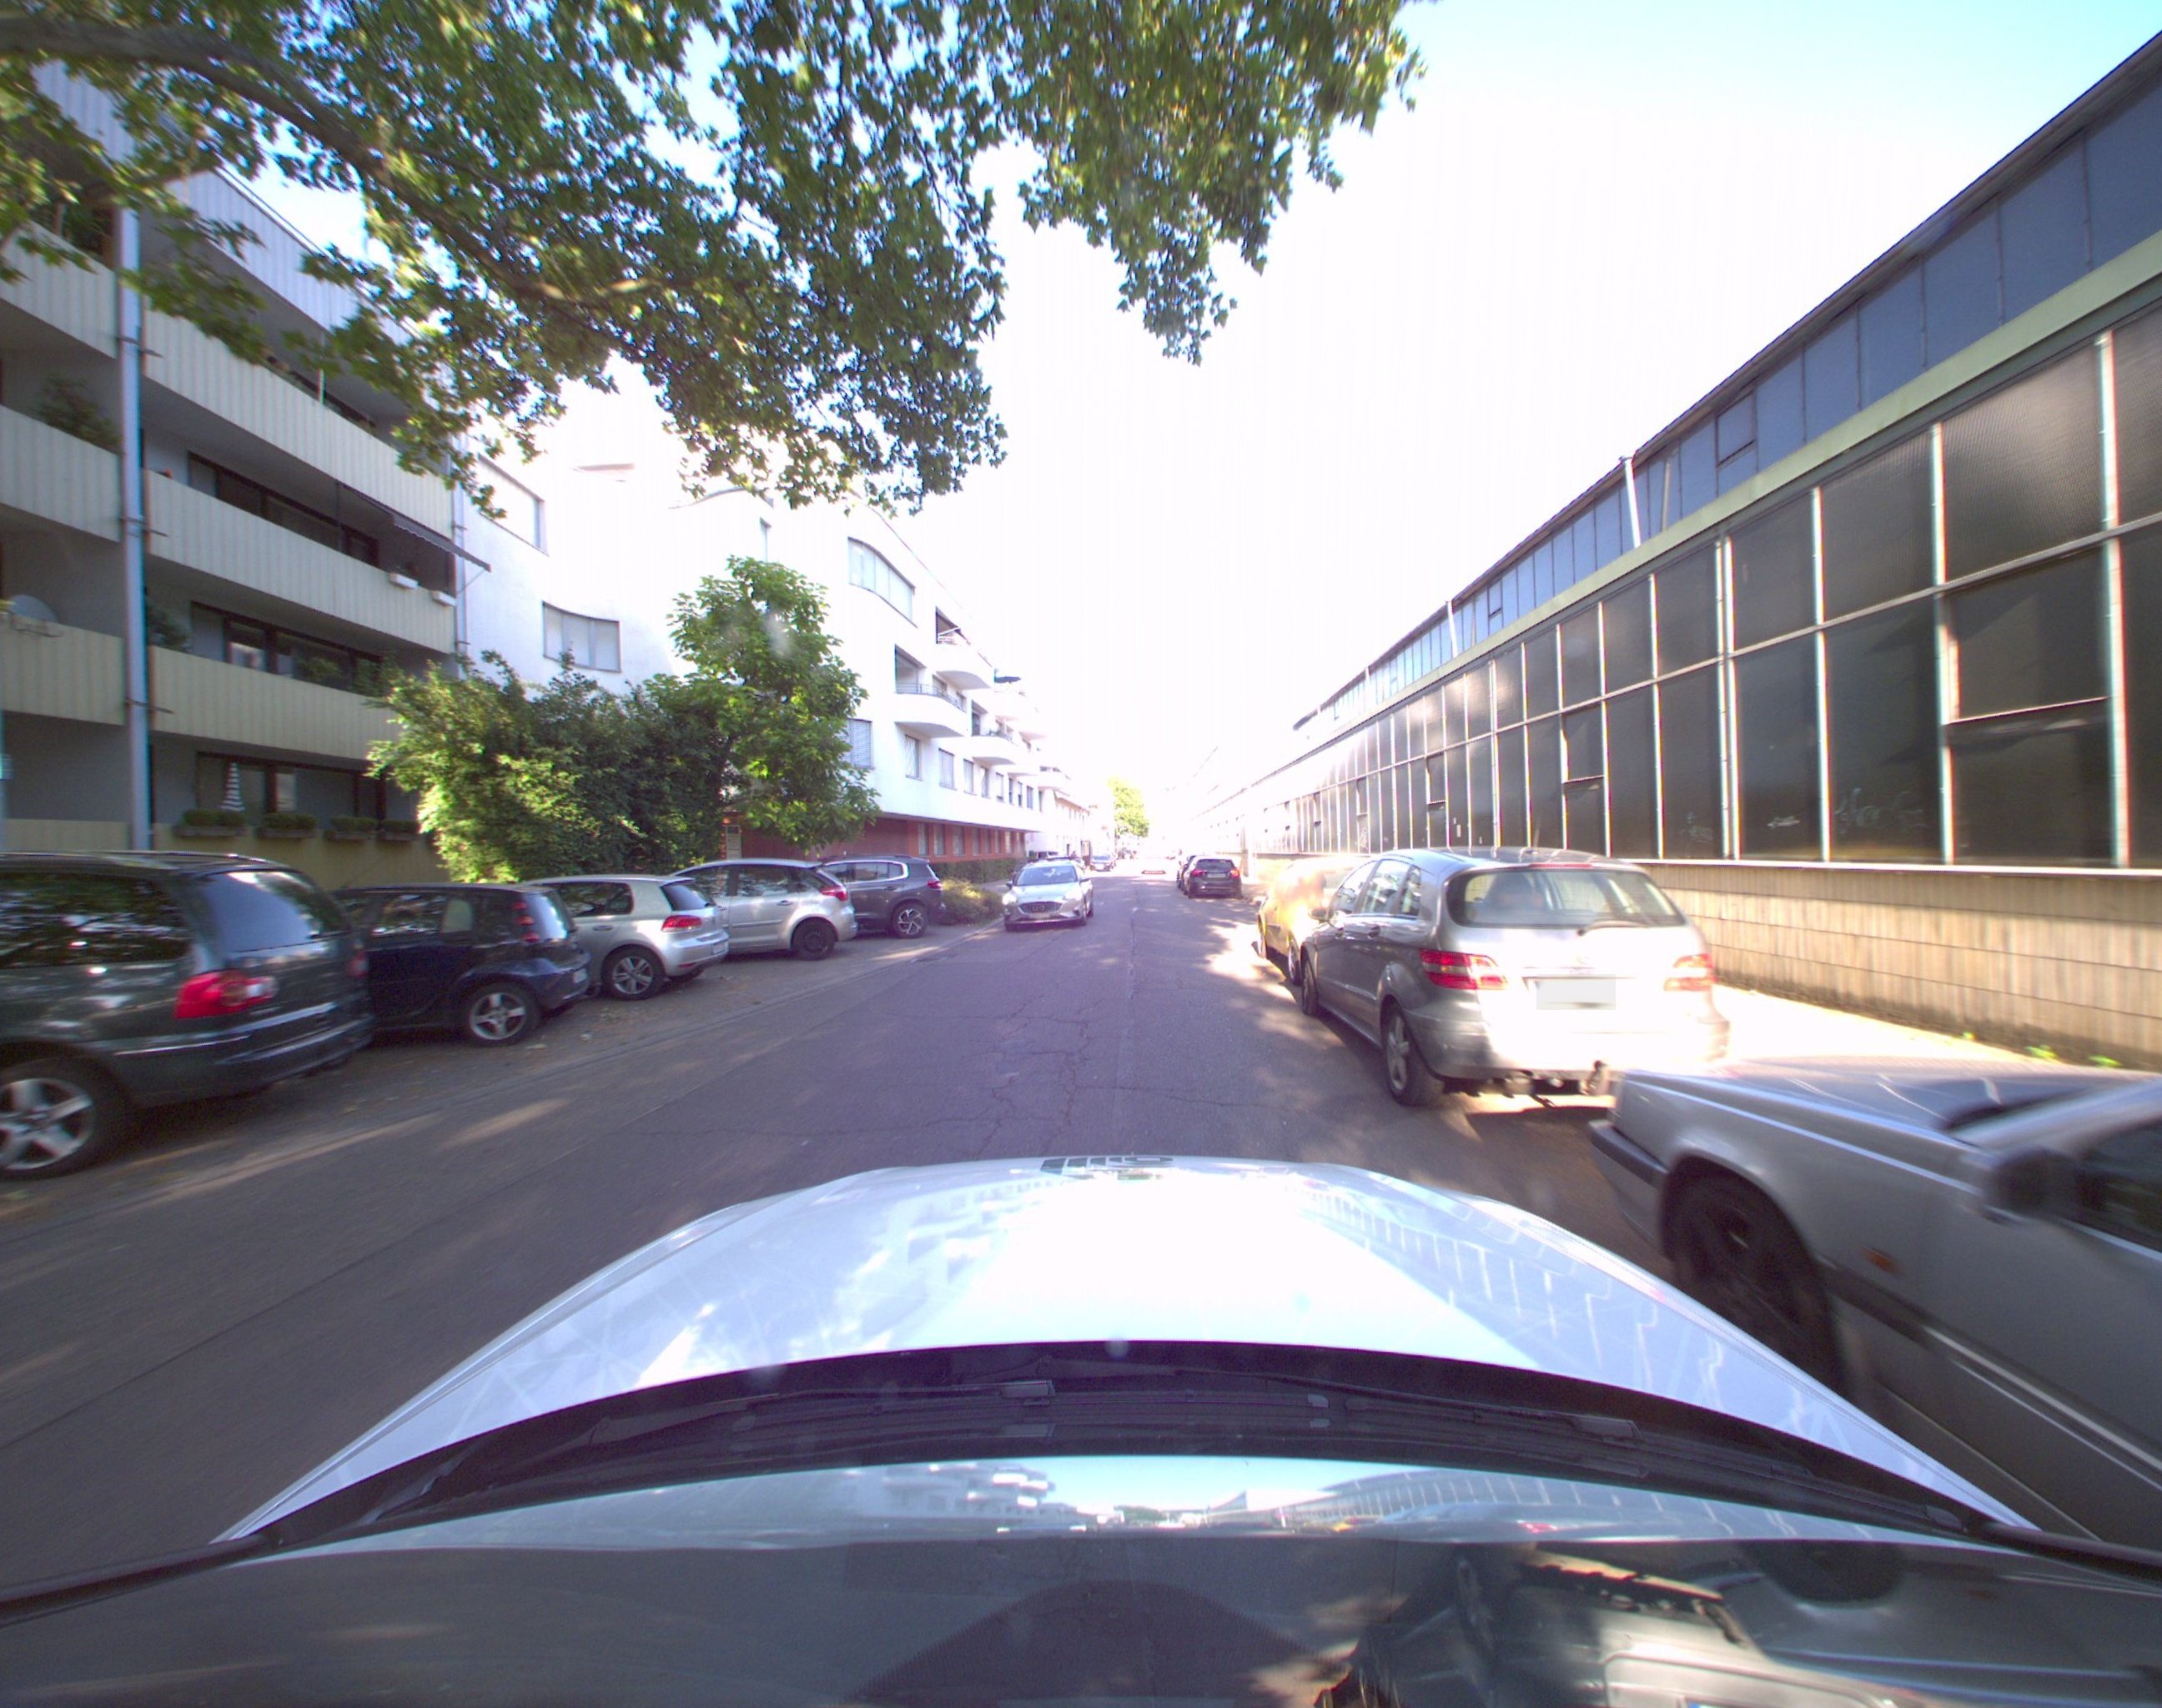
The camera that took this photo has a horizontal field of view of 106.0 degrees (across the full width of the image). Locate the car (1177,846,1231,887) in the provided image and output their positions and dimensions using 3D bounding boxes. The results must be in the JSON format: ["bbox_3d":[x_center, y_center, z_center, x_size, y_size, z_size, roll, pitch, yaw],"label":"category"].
[{"bbox_3d":[5.067,0.499,34.173,1.799,1.587,4.408,0,0,3],"label":"car"}]

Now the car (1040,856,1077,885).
[{"bbox_3d":[-1.236,0.895,47.318,1.850,1.587,4.623,0,0,2],"label":"car"}]

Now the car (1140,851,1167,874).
[{"bbox_3d":[5.119,0.575,57.725,1.834,1.491,4.149,-2,0,4],"label":"car"}]

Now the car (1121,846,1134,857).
[{"bbox_3d":[8.200,-0.428,143.180,1.843,1.791,4.616,-2,1,7],"label":"car"}]

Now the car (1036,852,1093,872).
[{"bbox_3d":[-1.261,0.600,63.671,4.303,1.535,1.691,0,0,2],"label":"car"}]

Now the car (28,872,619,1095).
[{"bbox_3d":[-6.584,1.012,7.647,3.652,1.560,1.688,-1,0,-21],"label":"car"}]

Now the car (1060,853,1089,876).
[{"bbox_3d":[-0.426,0.723,56.655,1.660,1.536,3.861,0,0,4],"label":"car"}]

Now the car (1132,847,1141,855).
[{"bbox_3d":[10.961,-0.617,161.728,1.696,1.575,3.919,-2,1,5],"label":"car"}]

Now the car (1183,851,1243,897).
[{"bbox_3d":[4.608,0.659,28.961,1.742,1.491,4.627,0,0,5],"label":"car"}]

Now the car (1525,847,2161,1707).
[{"bbox_3d":[2.677,0.744,1.007,1.893,1.493,4.531,-2,0,2],"label":"car"}]

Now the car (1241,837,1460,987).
[{"bbox_3d":[3.388,0.649,11.063,1.744,1.635,4.003,-2,0,2],"label":"car"}]

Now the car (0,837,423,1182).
[{"bbox_3d":[-6.910,0.855,4.796,4.269,1.775,1.894,-1,0,-19],"label":"car"}]

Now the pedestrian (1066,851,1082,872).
[{"bbox_3d":[-0.616,0.687,71.966,0.853,1.818,1.139,2,1,28],"label":"pedestrian"}]

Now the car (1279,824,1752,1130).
[{"bbox_3d":[2.873,0.678,6.585,1.743,1.635,4.314,-2,0,4],"label":"car"}]

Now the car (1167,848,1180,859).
[{"bbox_3d":[14.259,-0.103,125.631,1.622,1.587,4.075,-5,0,5],"label":"car"}]

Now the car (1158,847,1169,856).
[{"bbox_3d":[14.946,-0.432,147.028,1.833,1.491,4.151,-2,0,6],"label":"car"}]

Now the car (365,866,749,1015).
[{"bbox_3d":[-6.355,0.991,10.269,3.635,1.560,1.696,-2,0,-8],"label":"car"}]

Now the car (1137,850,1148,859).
[{"bbox_3d":[10.472,0.104,137.785,1.833,1.491,4.149,-2,0,5],"label":"car"}]

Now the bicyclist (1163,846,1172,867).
[{"bbox_3d":[7.423,0.234,69.835,0.695,1.790,1.042,-2,0,6],"label":"bicyclist"}]

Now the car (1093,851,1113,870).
[{"bbox_3d":[1.885,0.566,69.447,1.678,1.535,4.336,0,0,1],"label":"car"}]

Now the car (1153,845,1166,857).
[{"bbox_3d":[12.395,-0.464,128.993,1.845,1.791,4.611,-2,1,3],"label":"car"}]

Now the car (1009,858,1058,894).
[{"bbox_3d":[-2.002,0.914,35.518,1.667,1.433,3.774,0,0,3],"label":"car"}]

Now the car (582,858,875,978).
[{"bbox_3d":[-5.642,0.952,13.482,4.140,1.640,1.765,-1,0,-20],"label":"car"}]

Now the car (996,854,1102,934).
[{"bbox_3d":[-0.621,0.843,19.510,1.891,1.536,4.627,-5,0,4],"label":"car"}]

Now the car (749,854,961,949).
[{"bbox_3d":[-4.615,0.894,16.632,3.965,1.662,1.687,-1,0,-24],"label":"car"}]

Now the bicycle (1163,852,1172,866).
[{"bbox_3d":[7.435,0.398,69.904,0.695,1.130,2.407,-2,0,6],"label":"bicycle"}]
